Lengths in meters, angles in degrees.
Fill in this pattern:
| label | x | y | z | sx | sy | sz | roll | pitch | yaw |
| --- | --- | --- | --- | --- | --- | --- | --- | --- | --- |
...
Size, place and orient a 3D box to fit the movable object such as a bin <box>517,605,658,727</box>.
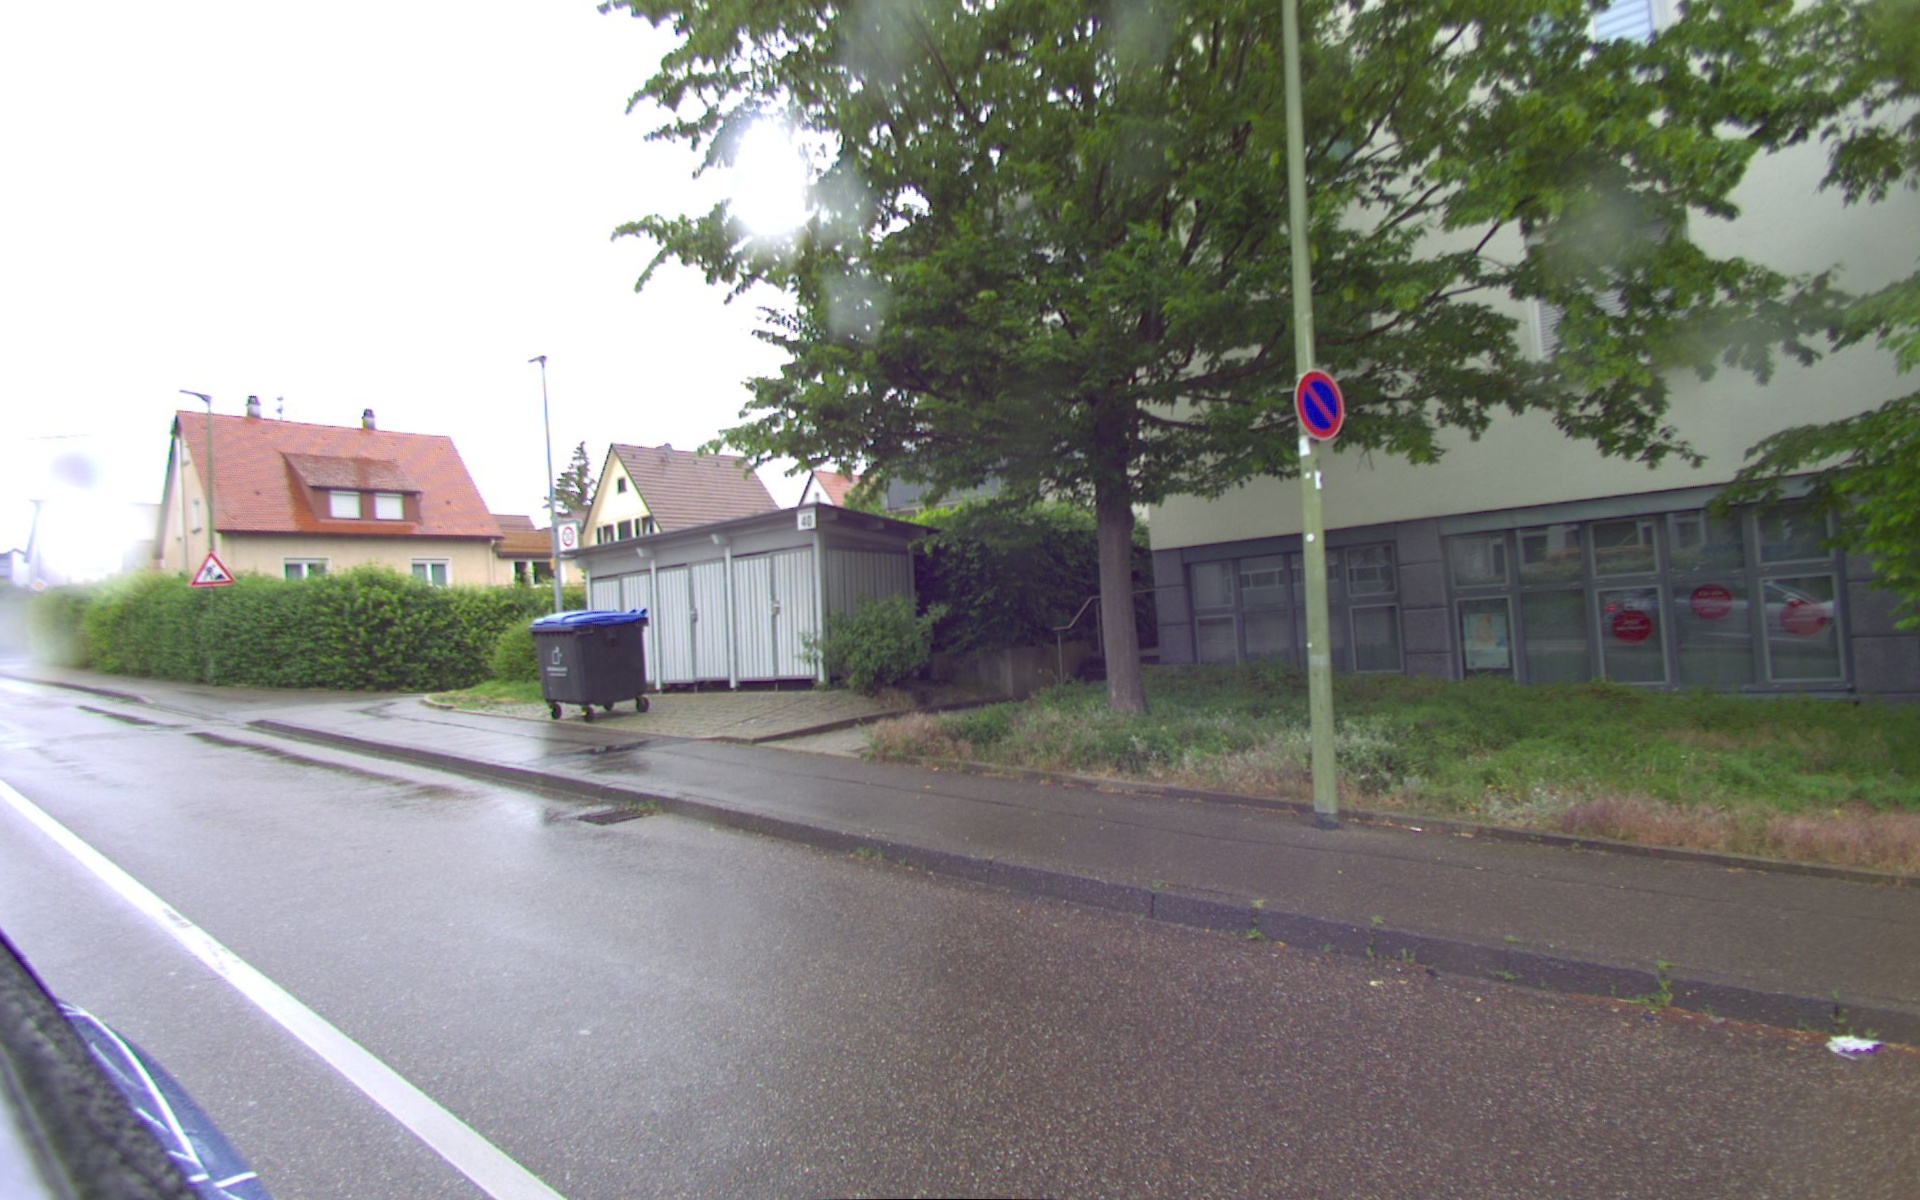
| label | x | y | z | sx | sy | sz | roll | pitch | yaw |
| --- | --- | --- | --- | --- | --- | --- | --- | --- | --- |
| movable object such as a bin | -4.621 | 0.787 | 12.545 | 1.317 | 1.357 | 1.061 | -2 | 1 | 39 |
